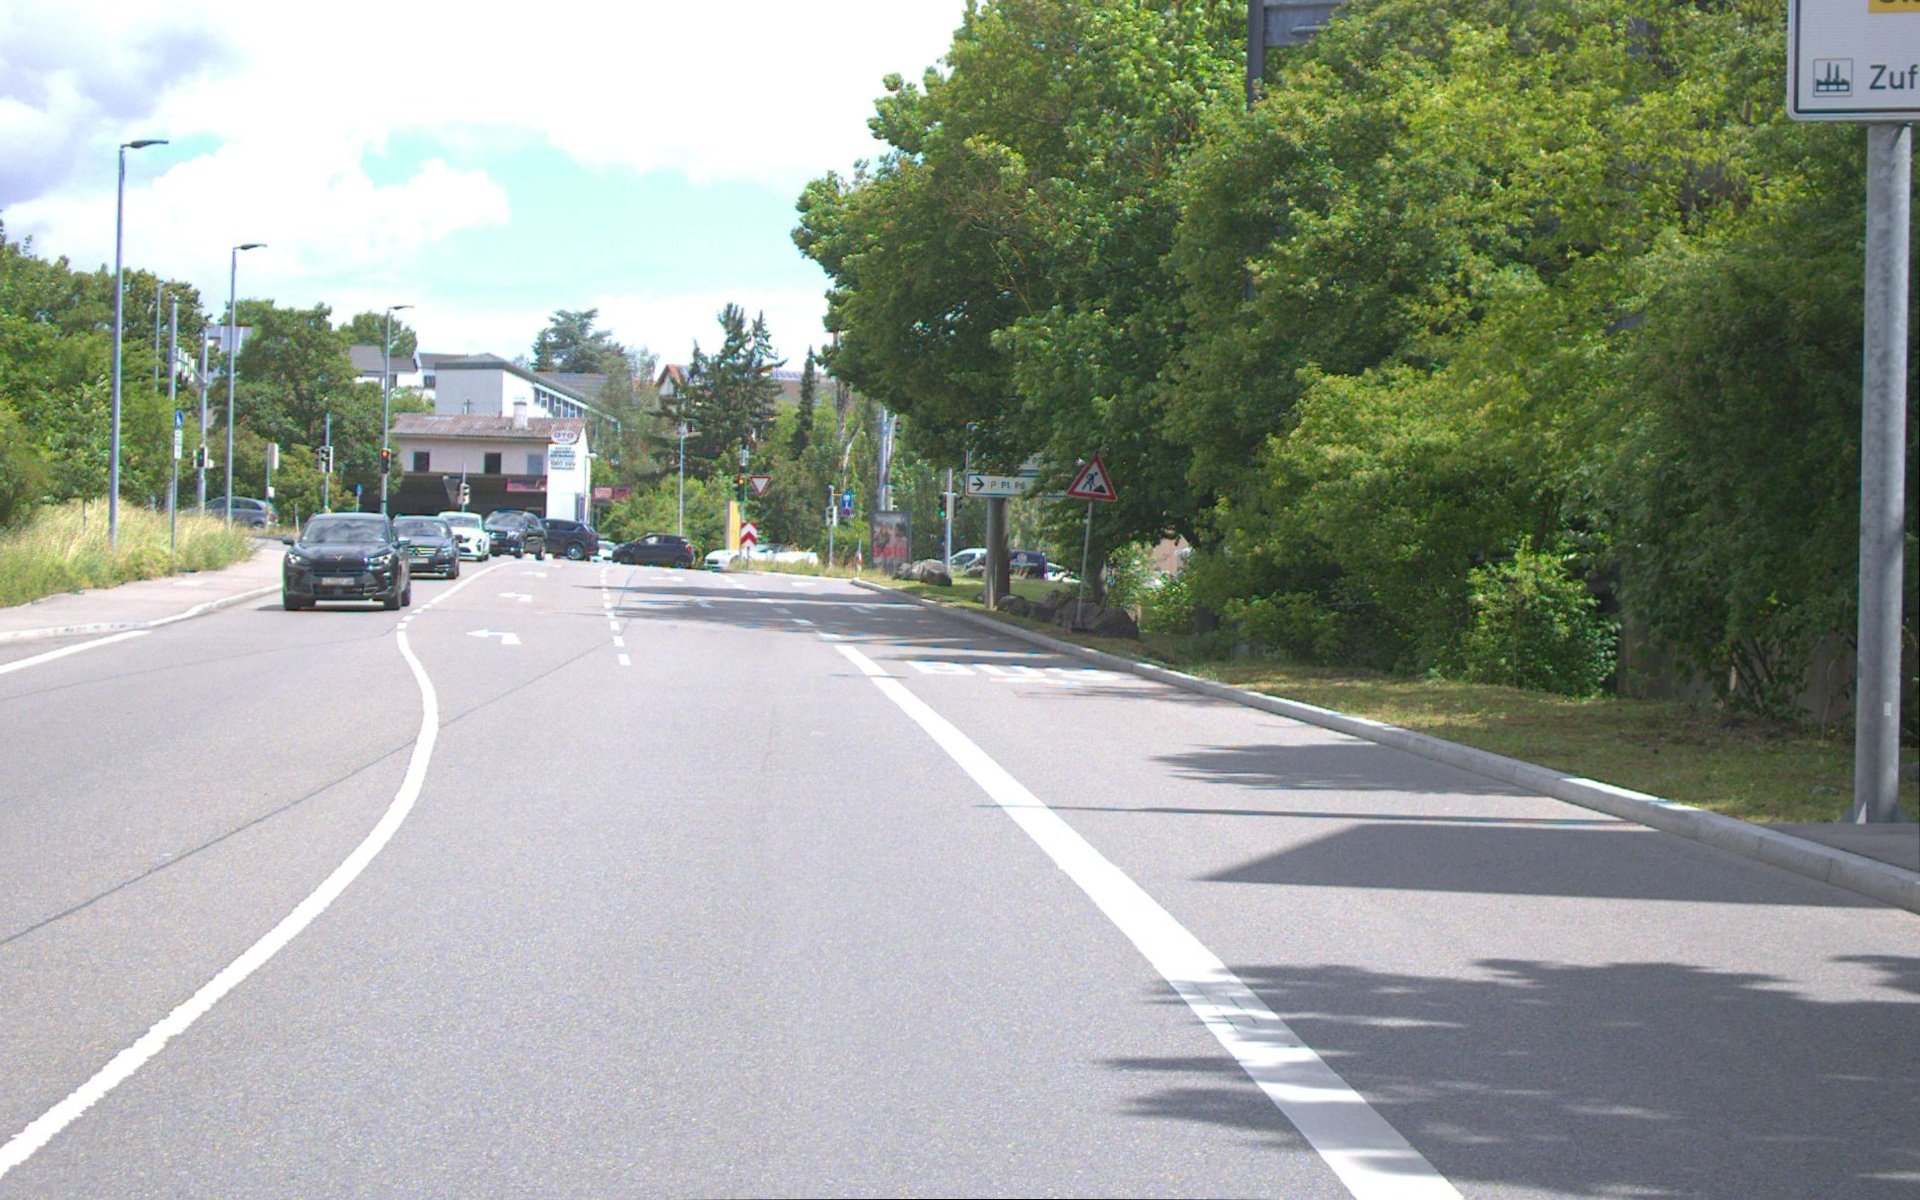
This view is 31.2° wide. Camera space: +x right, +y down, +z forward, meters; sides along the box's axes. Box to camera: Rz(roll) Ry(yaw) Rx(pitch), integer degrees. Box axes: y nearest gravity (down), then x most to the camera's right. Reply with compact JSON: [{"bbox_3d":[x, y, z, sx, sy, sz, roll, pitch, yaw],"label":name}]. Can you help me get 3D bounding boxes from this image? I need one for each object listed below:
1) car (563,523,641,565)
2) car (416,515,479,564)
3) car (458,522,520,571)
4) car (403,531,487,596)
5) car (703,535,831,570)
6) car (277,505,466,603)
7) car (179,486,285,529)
[{"bbox_3d":[-16.622,-2.578,159.567,1.899,1.853,3.810,0,0,-37],"label":"car"},{"bbox_3d":[-15.511,-1.829,104.251,1.766,1.437,3.901,0,1,-7],"label":"car"},{"bbox_3d":[-16.491,-1.884,120.413,1.821,1.648,4.533,1,1,-4],"label":"car"},{"bbox_3d":[-11.874,-0.852,79.479,1.766,1.437,4.378,0,1,-7],"label":"car"},{"bbox_3d":[-7.516,-1.854,133.879,4.593,1.287,1.911,1,1,-27],"label":"car"},{"bbox_3d":[-9.636,-0.788,56.631,1.823,1.552,4.628,0,1,7],"label":"car"},{"bbox_3d":[-30.203,-3.841,142.766,3.987,1.706,1.895,0,1,1],"label":"car"}]
